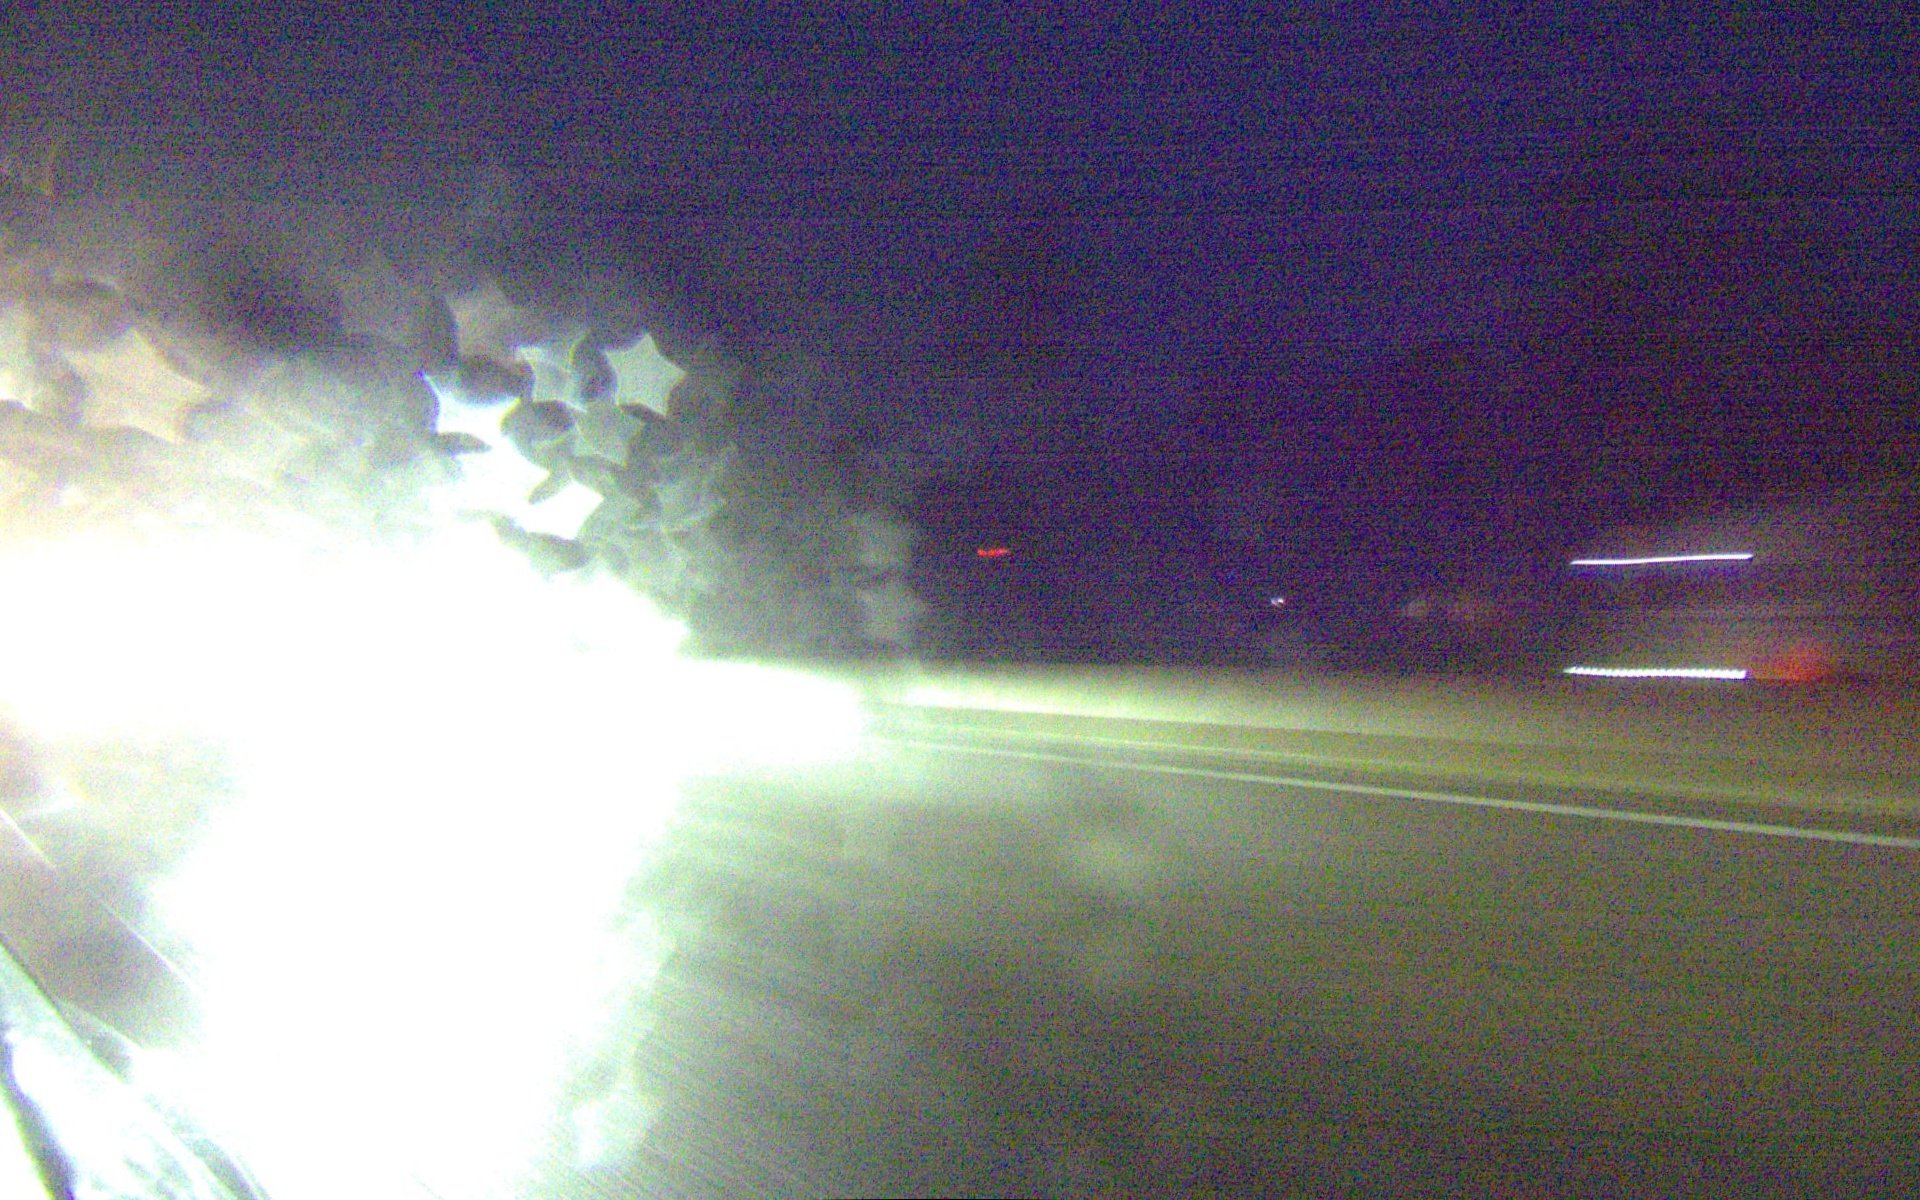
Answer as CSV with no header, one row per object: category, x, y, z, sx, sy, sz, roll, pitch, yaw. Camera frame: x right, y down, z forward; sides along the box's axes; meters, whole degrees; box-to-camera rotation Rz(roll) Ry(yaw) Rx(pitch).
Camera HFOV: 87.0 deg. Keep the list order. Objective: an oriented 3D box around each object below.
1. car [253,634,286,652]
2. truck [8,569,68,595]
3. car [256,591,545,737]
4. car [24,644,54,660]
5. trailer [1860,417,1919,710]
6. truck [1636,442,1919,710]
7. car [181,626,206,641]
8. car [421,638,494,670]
car,-63.815,3.971,93.479,1.751,1.644,4.002,3,-4,-44
truck,-142.336,-2.764,156.205,11.161,3.808,2.399,1,-2,23
car,-8.879,0.864,15.803,5.552,1.899,2.114,0,-2,41
car,-78.553,4.436,86.316,1.687,1.304,3.993,2,-4,-45
trailer,20.693,-0.488,12.703,13.904,4.578,2.523,0,-2,40
truck,15.089,-0.338,17.329,5.636,4.187,2.512,0,-2,39
car,-90.318,3.979,119.203,1.751,1.644,4.003,3,-2,-44
car,-22.881,2.441,46.020,3.760,1.246,1.645,0,-2,41
